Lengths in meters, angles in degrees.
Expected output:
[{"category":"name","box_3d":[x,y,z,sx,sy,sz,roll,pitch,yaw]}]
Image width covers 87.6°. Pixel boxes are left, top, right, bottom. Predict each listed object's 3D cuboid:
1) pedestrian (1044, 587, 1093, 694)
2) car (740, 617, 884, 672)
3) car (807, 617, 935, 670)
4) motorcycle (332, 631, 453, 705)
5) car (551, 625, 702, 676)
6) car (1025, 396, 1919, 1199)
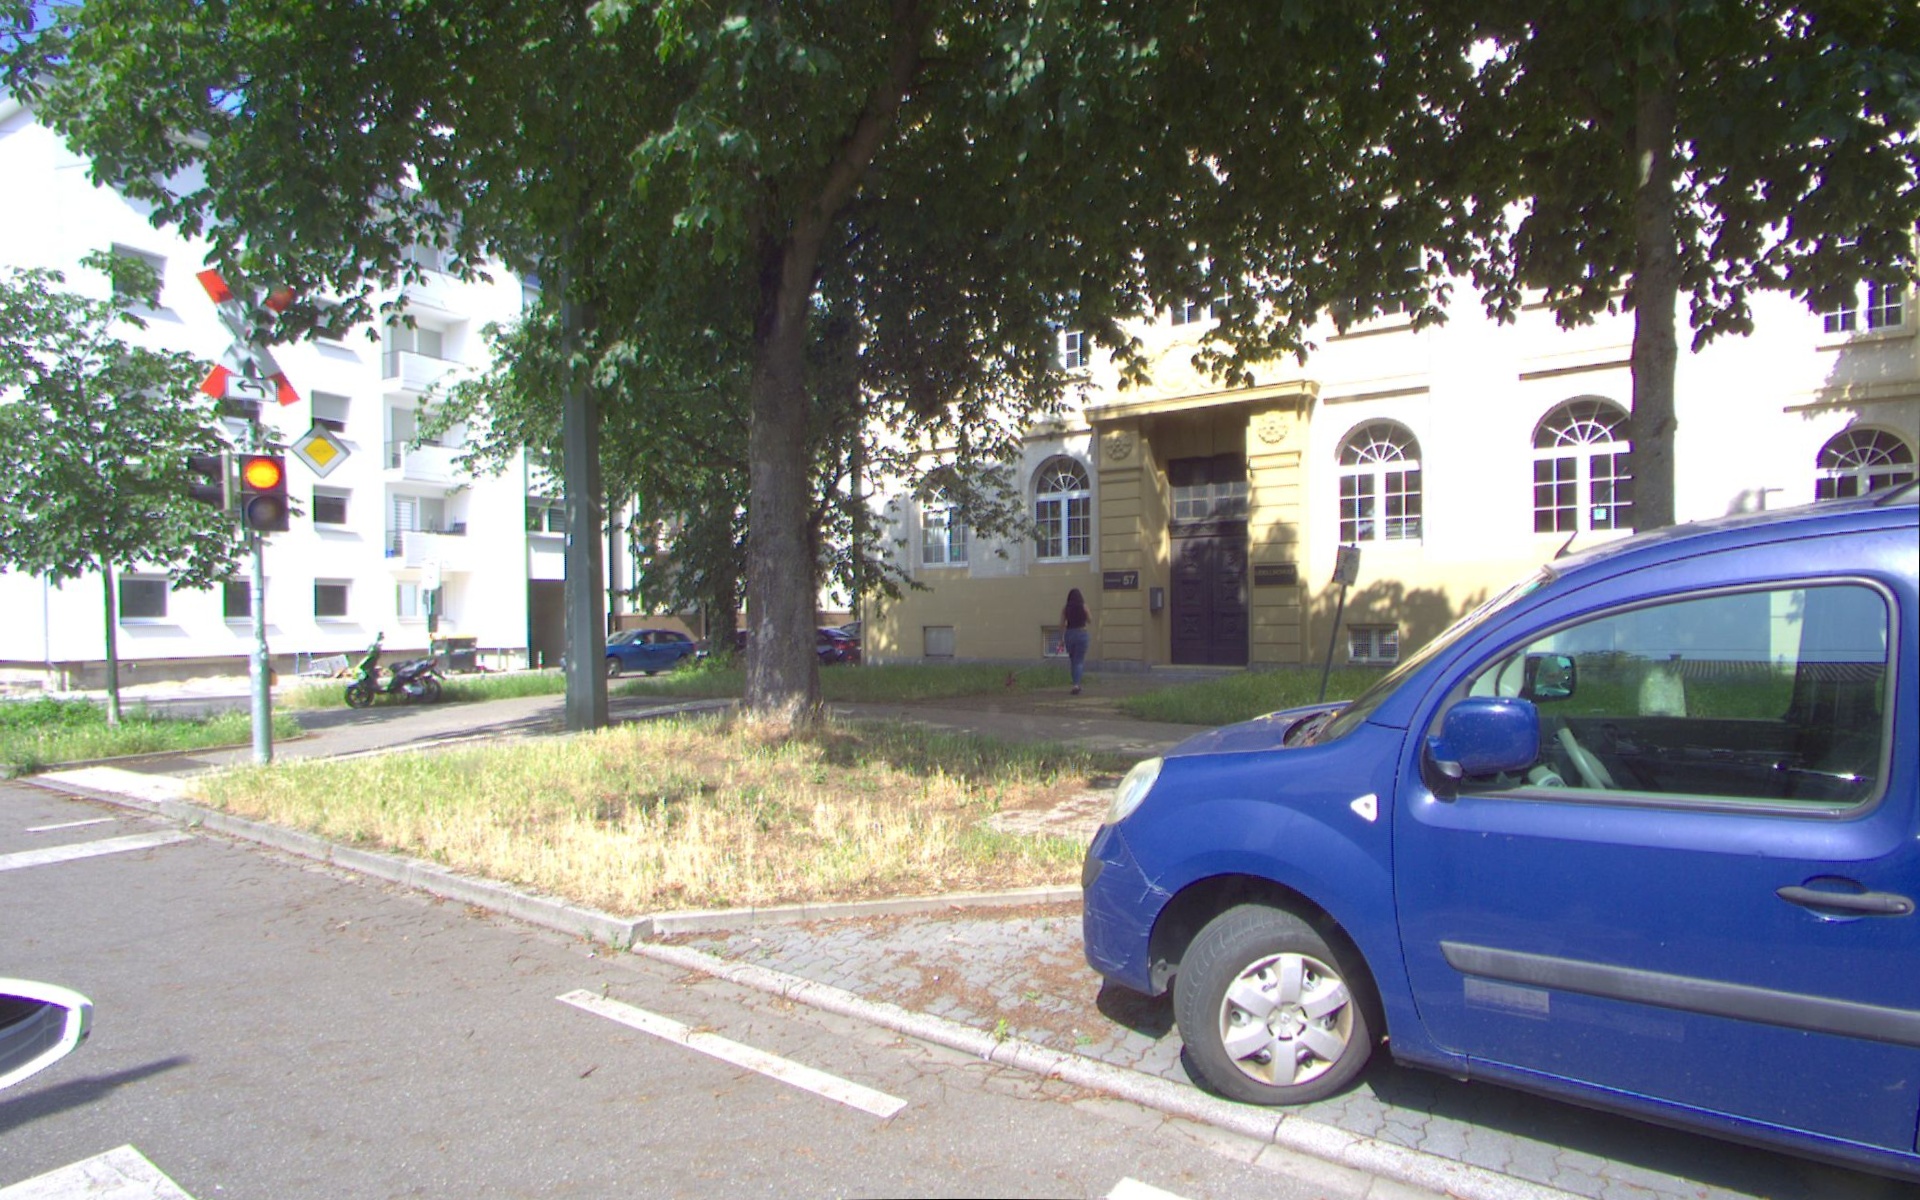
[{"category":"pedestrian","box_3d":[1.691,0.622,15.587,0.532,1.617,0.630,-1,0,31]},{"category":"car","box_3d":[-4.297,1.250,28.941,3.942,1.478,1.736,-1,0,32]},{"category":"car","box_3d":[-2.822,1.317,31.335,3.955,1.560,1.797,-1,-1,42]},{"category":"motorcycle","box_3d":[-10.391,1.233,18.358,1.811,1.233,0.571,-2,4,0]},{"category":"car","box_3d":[-10.094,1.537,30.599,1.757,1.430,4.155,-2,-3,36]},{"category":"car","box_3d":[2.415,0.534,2.840,4.128,1.921,1.816,0,1,36]}]
